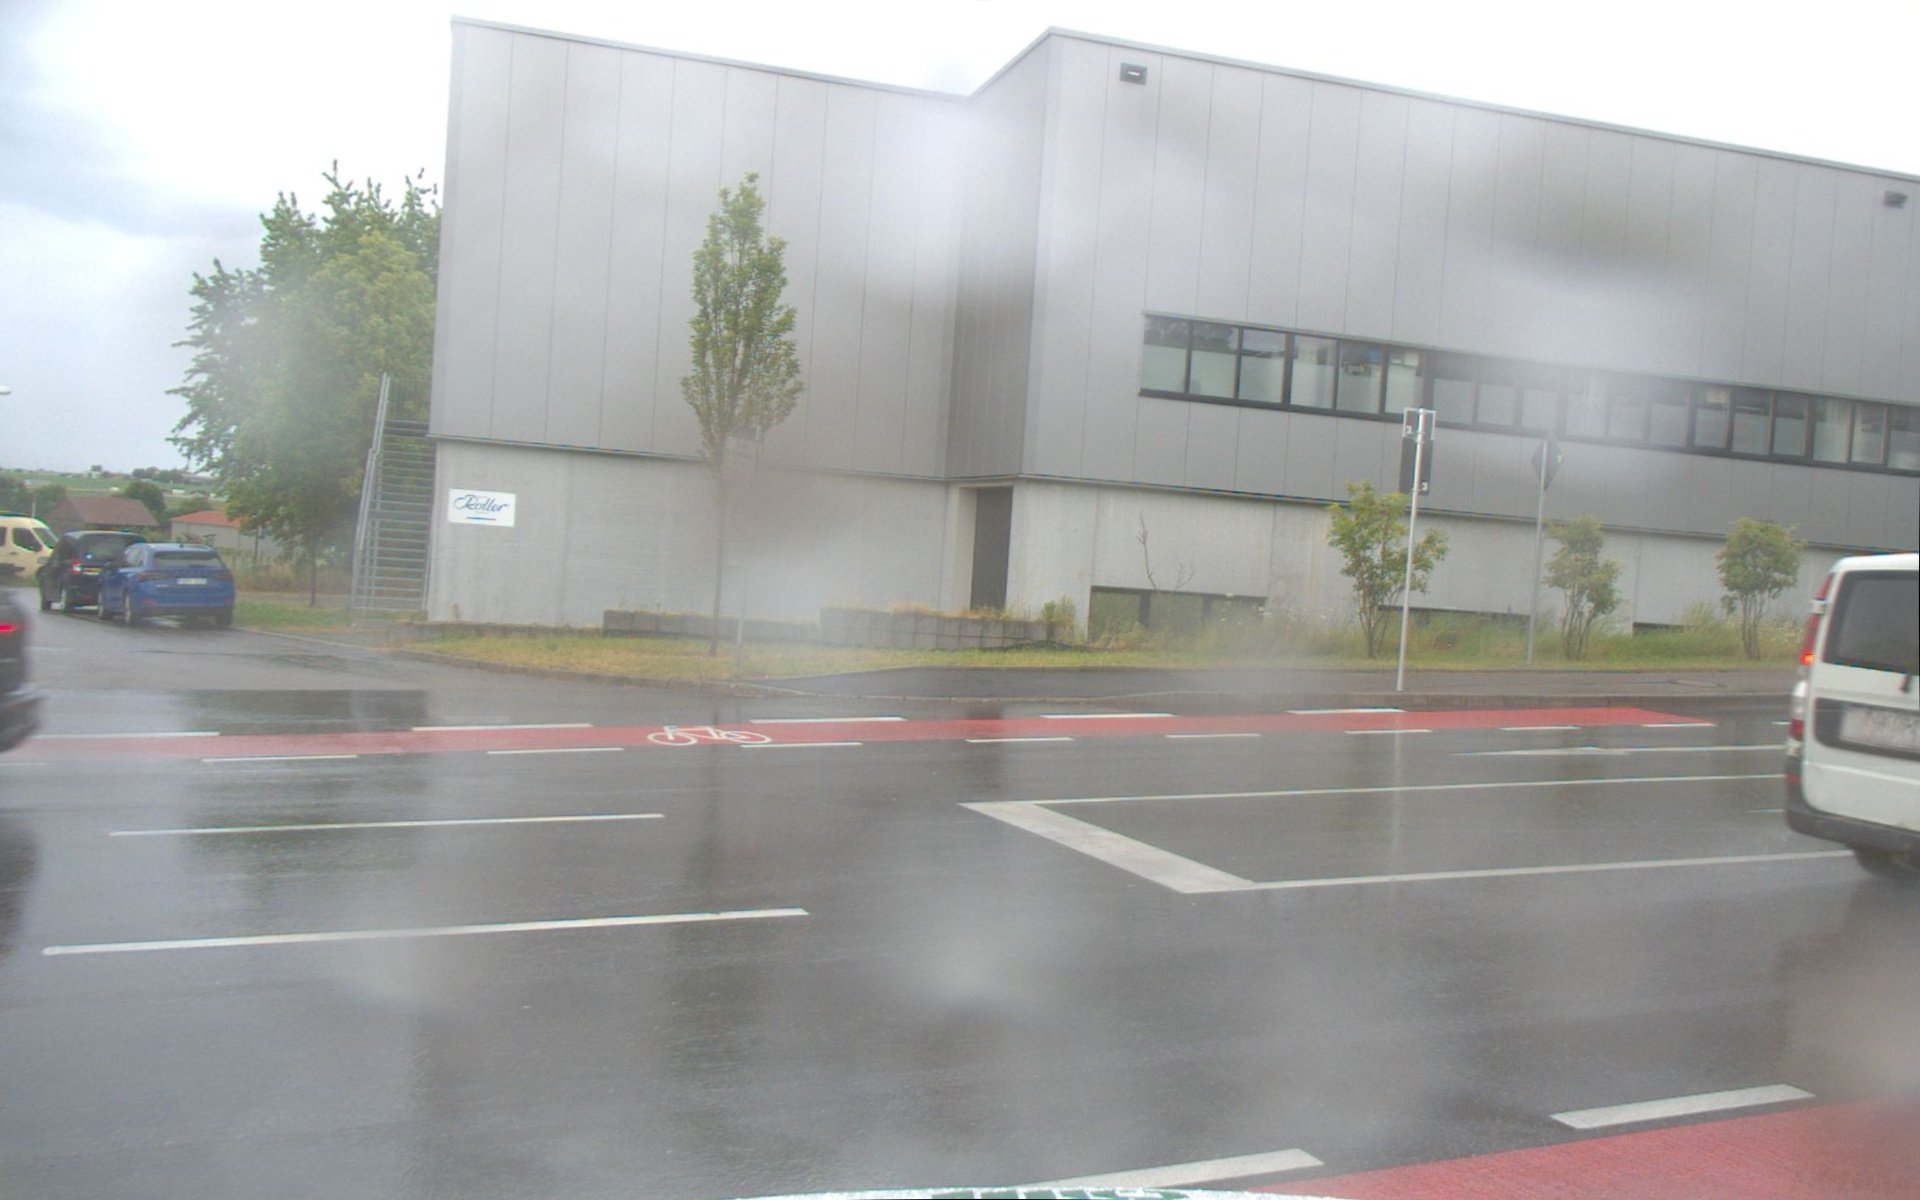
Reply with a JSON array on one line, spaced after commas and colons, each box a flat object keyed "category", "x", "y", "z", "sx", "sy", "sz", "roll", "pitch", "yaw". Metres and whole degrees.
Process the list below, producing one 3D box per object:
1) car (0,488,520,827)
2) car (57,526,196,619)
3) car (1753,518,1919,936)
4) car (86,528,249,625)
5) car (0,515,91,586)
[{"category": "car", "x": -6.268, "y": 0.266, "z": 9.833, "sx": 6.765, "sy": 1.847, "sz": 2.344, "roll": 2, "pitch": 1, "yaw": -25}, {"category": "car", "x": -18.236, "y": -0.598, "z": 36.084, "sx": 2.057, "sy": 1.867, "sz": 4.415, "roll": 2, "pitch": 0, "yaw": -35}, {"category": "car", "x": 7.123, "y": 0.689, "z": 9.255, "sx": 5.286, "sy": 2.053, "sz": 1.891, "roll": 2, "pitch": 1, "yaw": -25}, {"category": "car", "x": -14.771, "y": -0.444, "z": 30.711, "sx": 1.936, "sy": 1.638, "sz": 4.389, "roll": 2, "pitch": 0, "yaw": -36}, {"category": "car", "x": -34.904, "y": -1.821, "z": 59.513, "sx": 5.901, "sy": 2.457, "sz": 2.457, "roll": 2, "pitch": 0, "yaw": -11}]
